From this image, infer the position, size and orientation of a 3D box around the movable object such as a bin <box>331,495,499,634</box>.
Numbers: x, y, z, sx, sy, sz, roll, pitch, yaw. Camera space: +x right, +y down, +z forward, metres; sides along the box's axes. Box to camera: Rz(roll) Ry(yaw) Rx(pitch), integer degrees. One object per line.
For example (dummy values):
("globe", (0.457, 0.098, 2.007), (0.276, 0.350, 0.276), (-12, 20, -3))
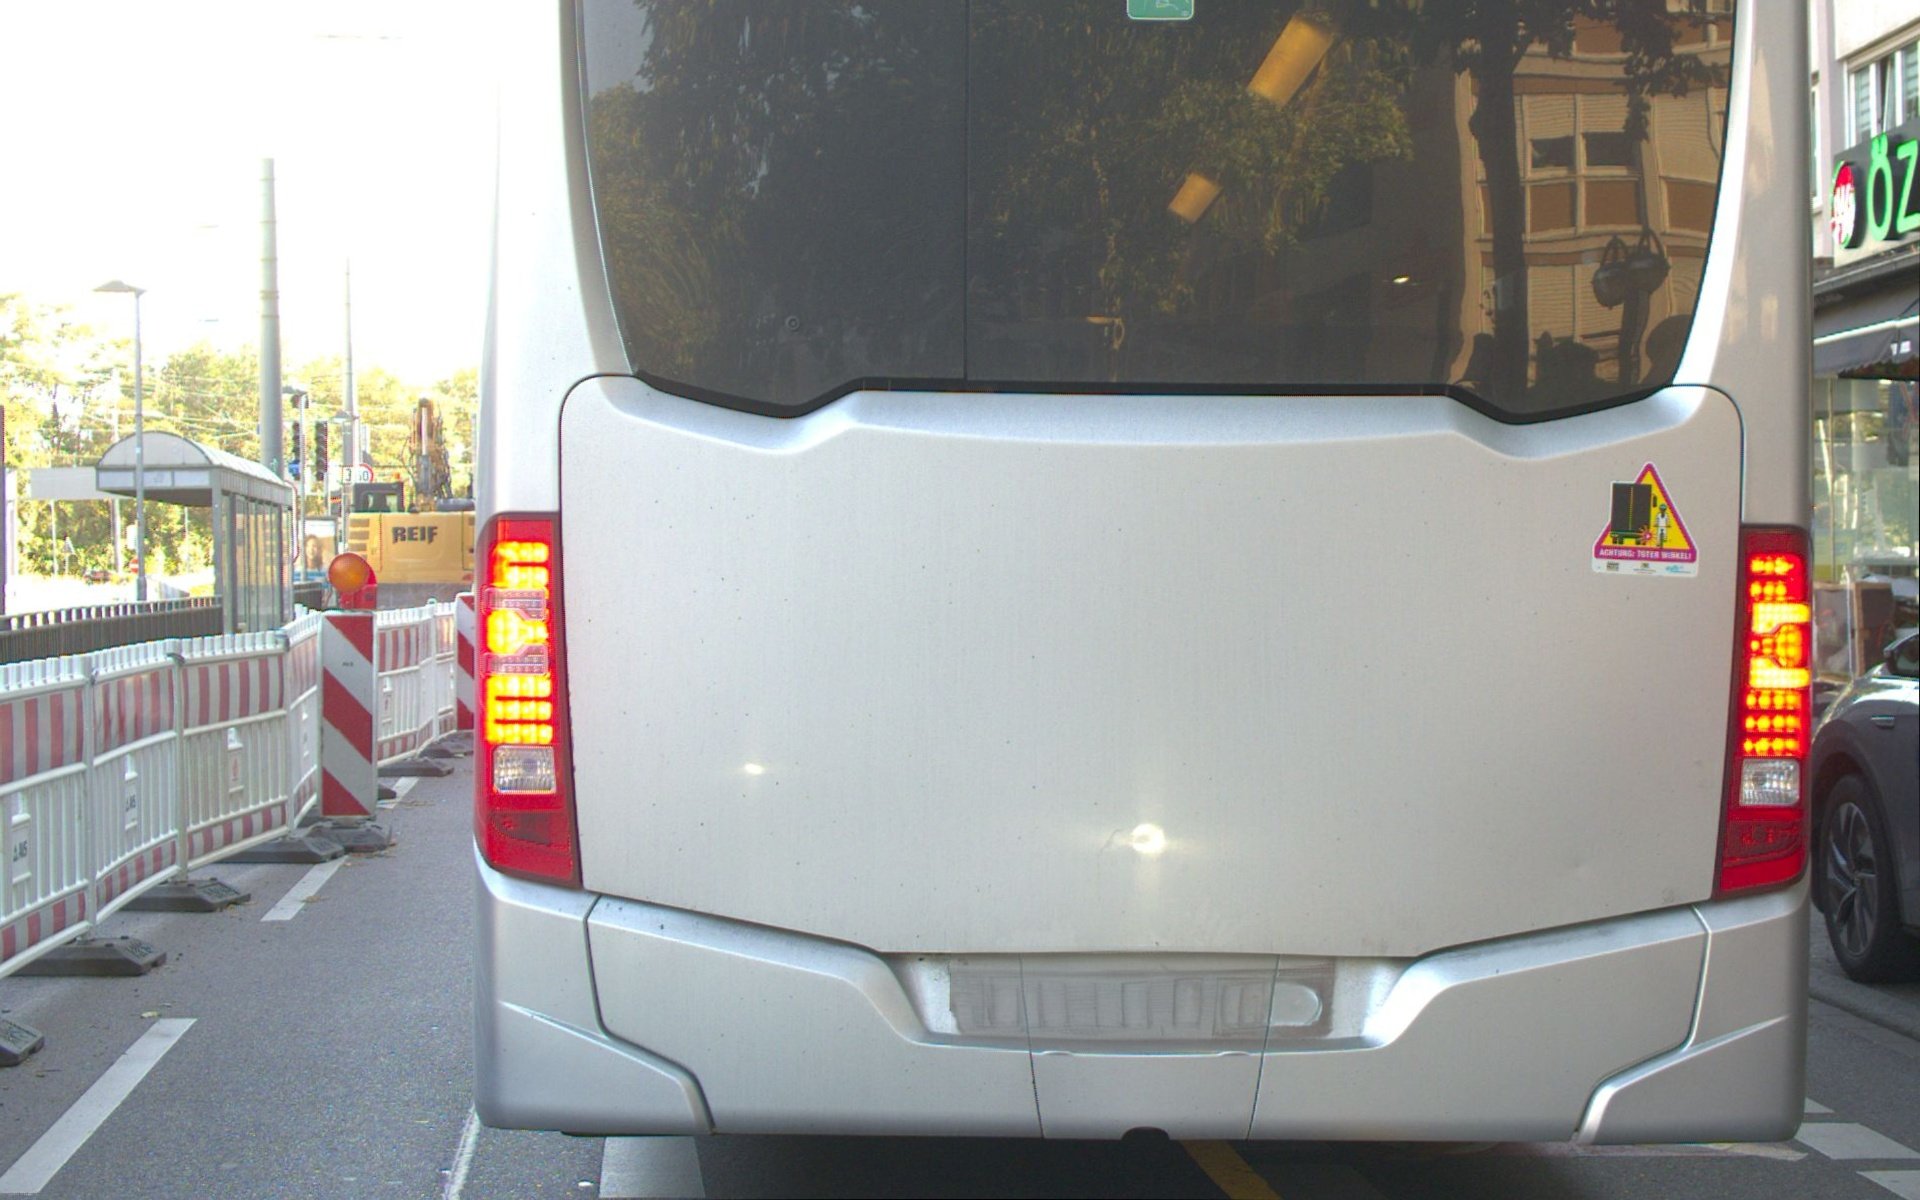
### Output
("movable object such as a bin", (-10.034, -0.664, 63.608), (2.806, 2.453, 4.001), (-1, 1, -5))

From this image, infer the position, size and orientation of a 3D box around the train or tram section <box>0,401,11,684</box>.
("train or tram section", (-12.626, -0.652, 37.627), (2.816, 3.475, 10.341), (0, 1, -7))

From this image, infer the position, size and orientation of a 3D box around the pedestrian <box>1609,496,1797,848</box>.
("pedestrian", (3.723, 0.352, 17.261), (0.752, 1.720, 0.661), (-1, 0, -3))

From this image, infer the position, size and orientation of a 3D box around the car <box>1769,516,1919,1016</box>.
("car", (3.983, 0.504, 10.197), (1.739, 1.592, 4.300), (-3, 1, -5))

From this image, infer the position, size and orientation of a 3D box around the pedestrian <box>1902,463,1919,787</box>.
("pedestrian", (6.303, 0.147, 21.108), (0.769, 2.007, 0.714), (-2, 0, 0))

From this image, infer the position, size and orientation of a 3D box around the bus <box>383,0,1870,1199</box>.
("bus", (0.268, -0.276, 11.182), (2.608, 3.159, 10.292), (0, 1, 0))

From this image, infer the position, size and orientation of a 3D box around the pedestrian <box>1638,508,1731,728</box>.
("pedestrian", (6.715, 0.160, 31.883), (0.691, 2.007, 0.696), (-1, 0, -1))

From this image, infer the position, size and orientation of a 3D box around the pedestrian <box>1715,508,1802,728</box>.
("pedestrian", (7.407, 0.162, 31.897), (0.612, 2.007, 0.696), (-1, 0, -1))
